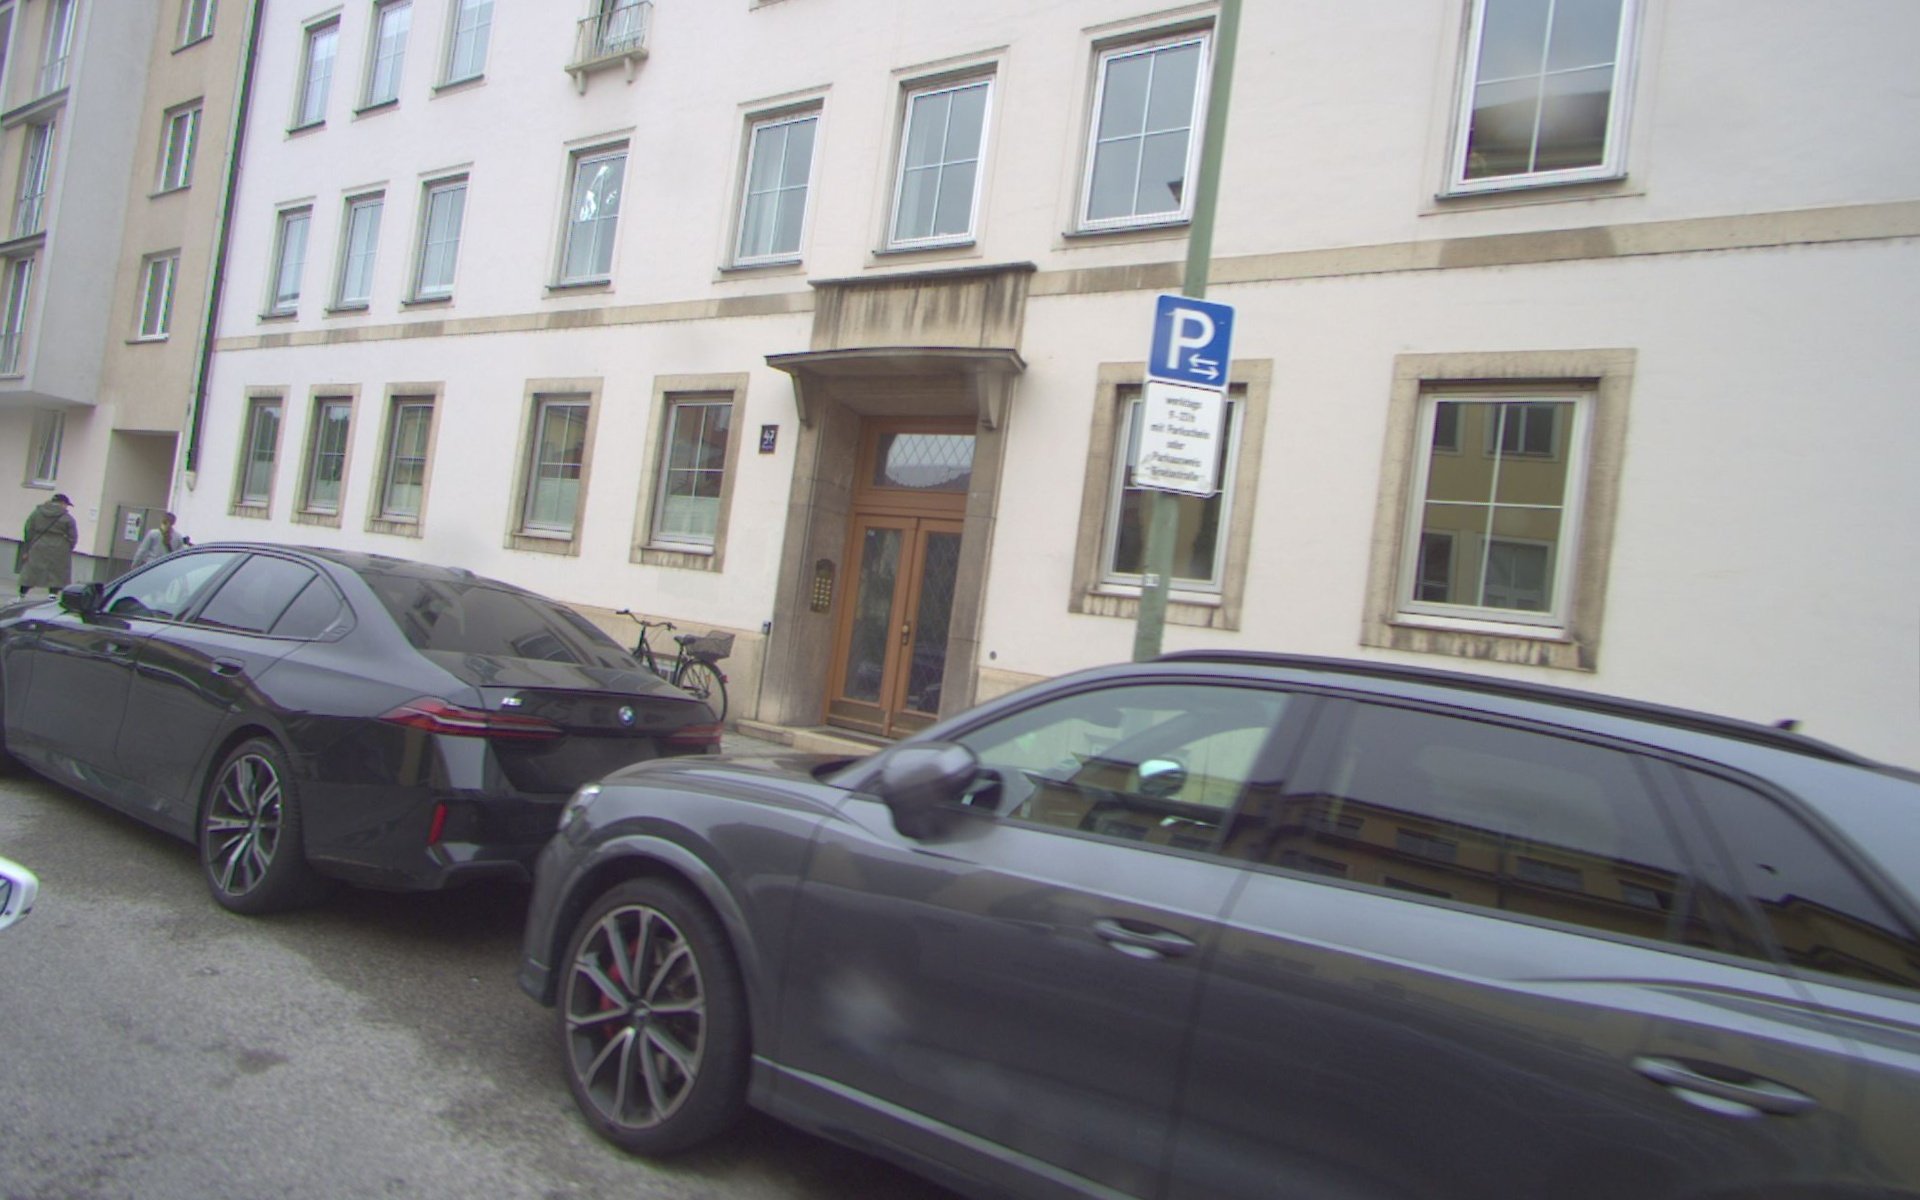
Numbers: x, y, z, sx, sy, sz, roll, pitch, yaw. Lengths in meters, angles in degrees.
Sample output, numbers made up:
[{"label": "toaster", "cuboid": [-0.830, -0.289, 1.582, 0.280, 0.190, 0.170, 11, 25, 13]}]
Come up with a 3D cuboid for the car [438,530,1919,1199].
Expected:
[{"label": "car", "cuboid": [0.688, 0.901, 2.852, 4.201, 1.601, 1.783, 7, -3, 32]}]

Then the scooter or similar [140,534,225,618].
[{"label": "scooter or similar", "cuboid": [-12.606, -0.381, 16.313, 1.020, 1.267, 0.600, 3, -1, 23]}]

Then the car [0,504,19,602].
[{"label": "car", "cuboid": [-12.507, -0.573, 11.319, 3.816, 1.550, 1.677, 7, -4, 31]}]

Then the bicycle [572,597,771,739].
[{"label": "bicycle", "cuboid": [-2.962, 0.665, 10.234, 1.994, 1.140, 0.660, 7, 0, 31]}]

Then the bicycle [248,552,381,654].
[{"label": "bicycle", "cuboid": [-8.993, 0.026, 13.994, 1.994, 1.177, 0.660, 7, 0, 31]}]

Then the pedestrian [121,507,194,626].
[{"label": "pedestrian", "cuboid": [-11.456, -0.473, 14.362, 0.551, 1.604, 0.532, 7, 1, 31]}]

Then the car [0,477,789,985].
[{"label": "car", "cuboid": [-3.455, 0.402, 5.407, 4.734, 1.560, 1.862, 7, -4, 30]}]

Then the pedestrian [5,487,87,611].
[{"label": "pedestrian", "cuboid": [-13.165, -0.728, 14.494, 0.620, 1.674, 0.597, 7, 1, 31]}]
